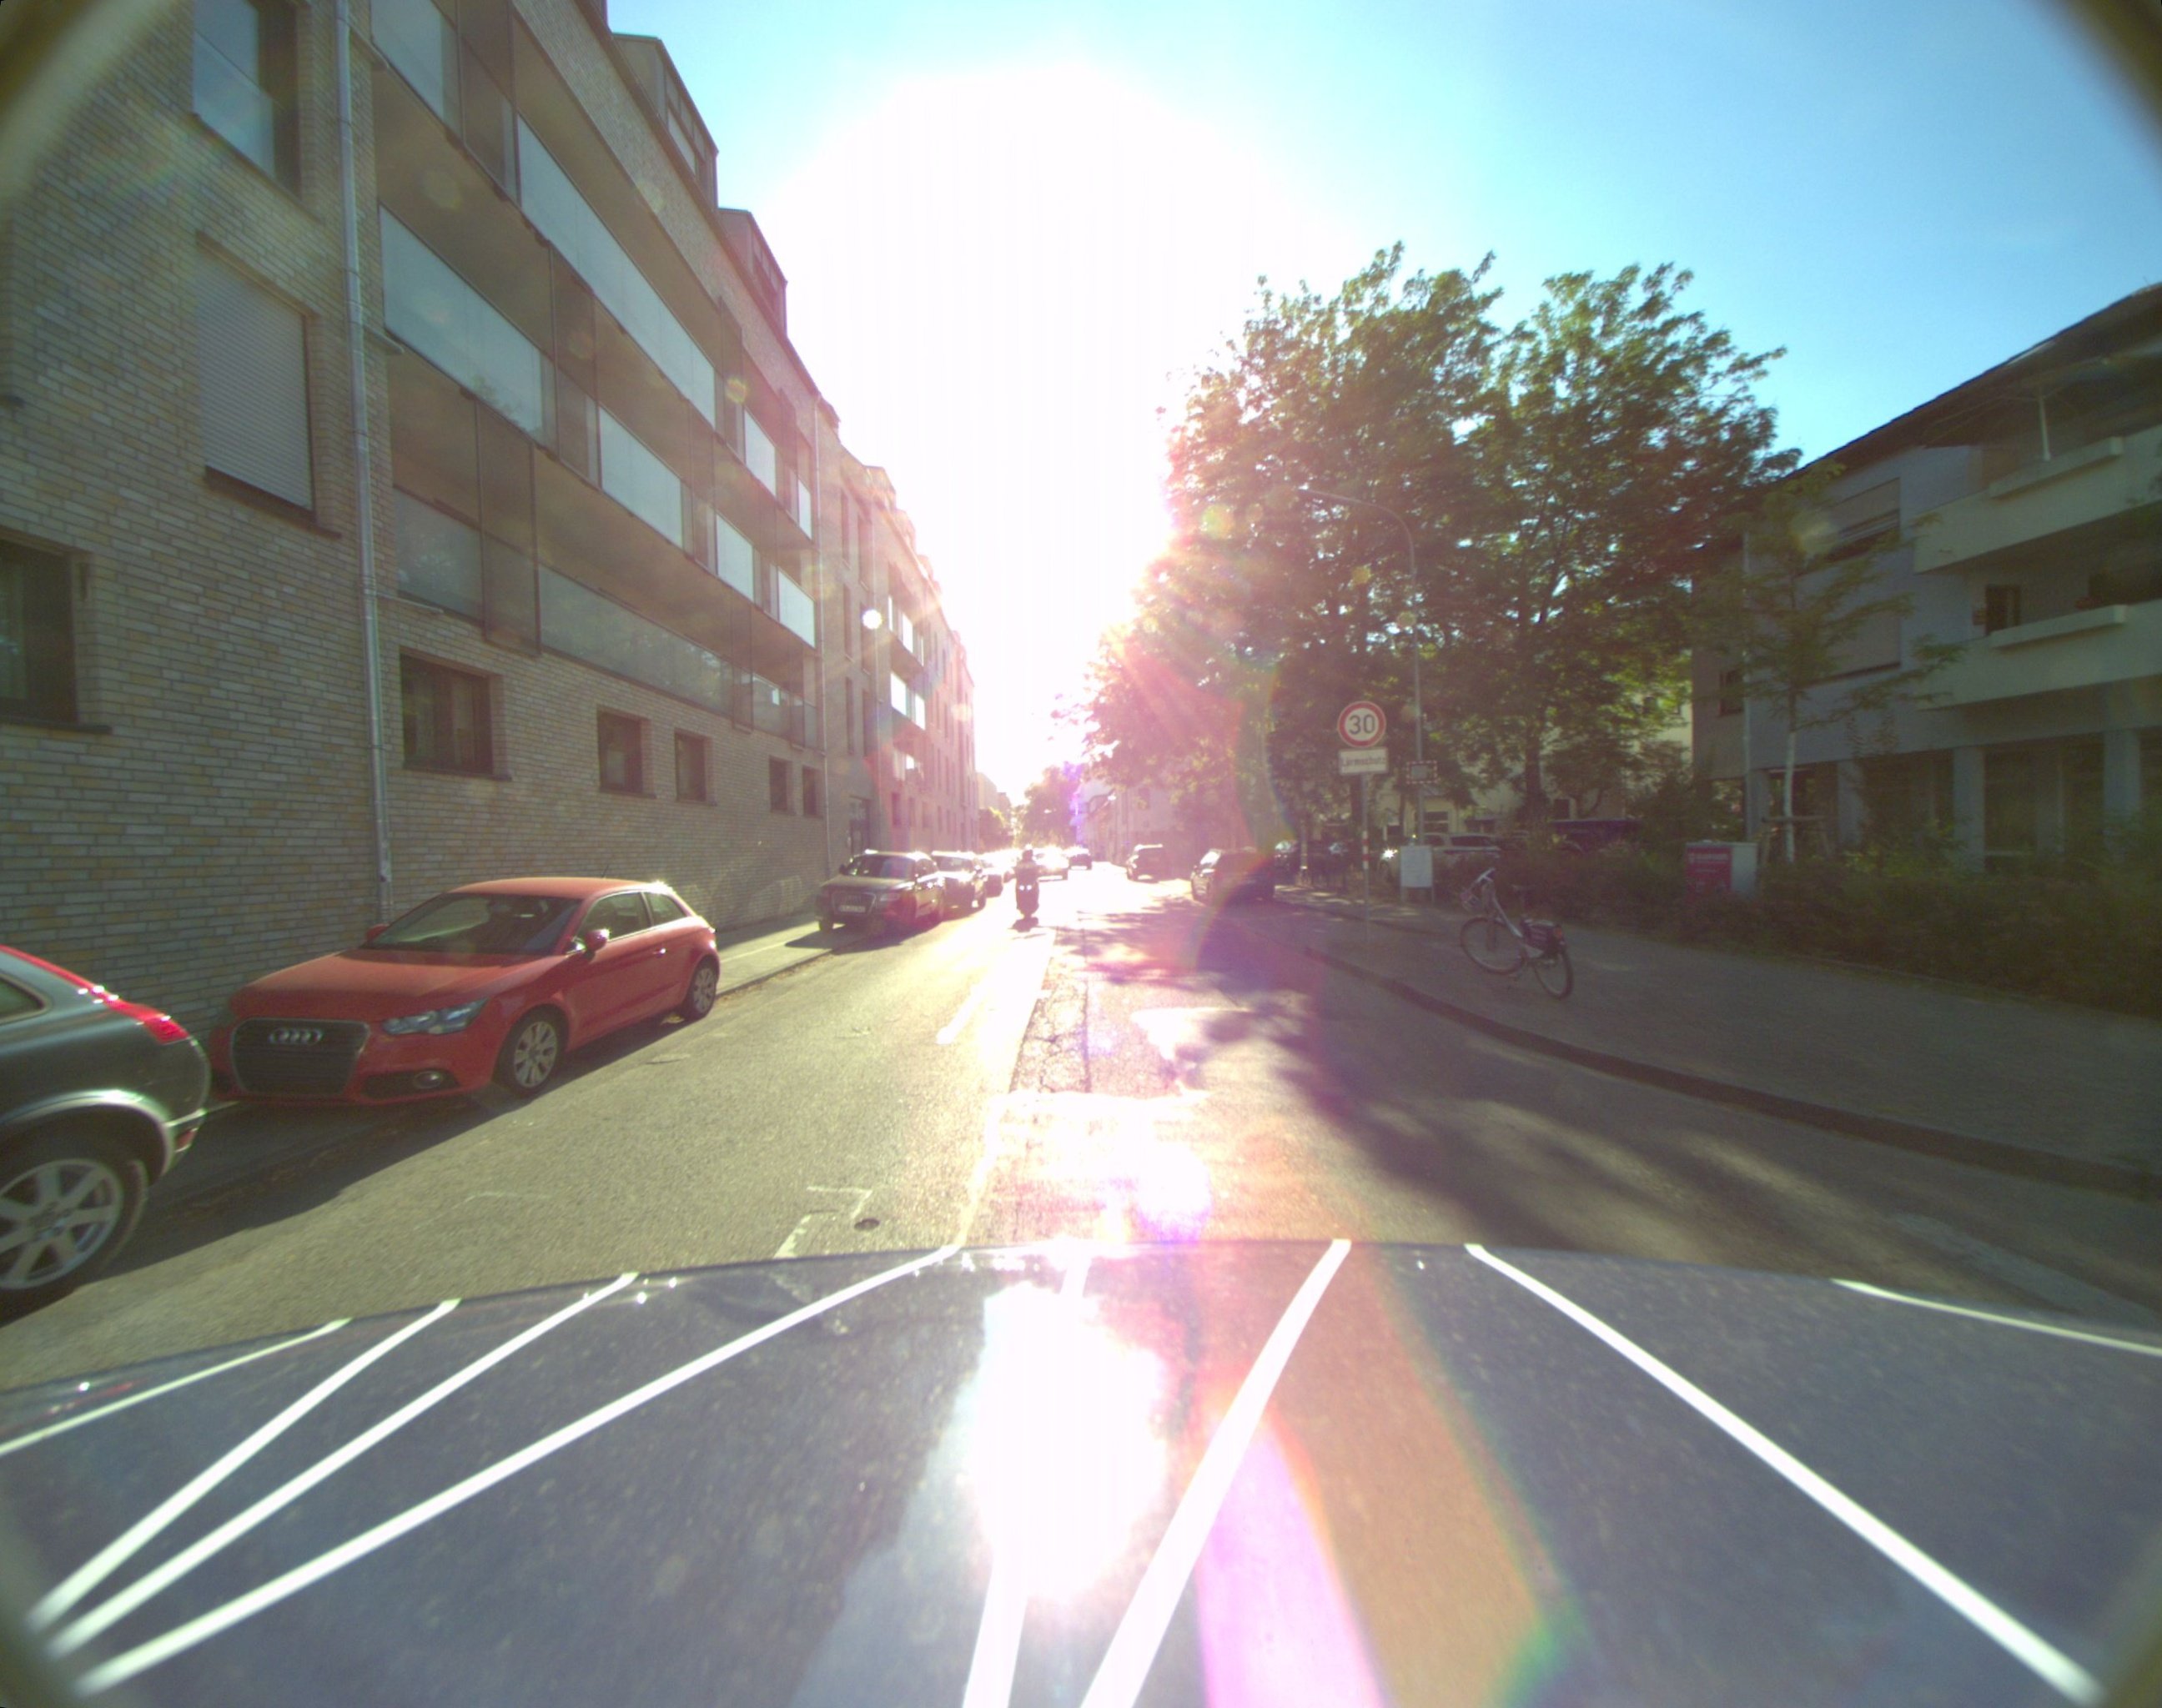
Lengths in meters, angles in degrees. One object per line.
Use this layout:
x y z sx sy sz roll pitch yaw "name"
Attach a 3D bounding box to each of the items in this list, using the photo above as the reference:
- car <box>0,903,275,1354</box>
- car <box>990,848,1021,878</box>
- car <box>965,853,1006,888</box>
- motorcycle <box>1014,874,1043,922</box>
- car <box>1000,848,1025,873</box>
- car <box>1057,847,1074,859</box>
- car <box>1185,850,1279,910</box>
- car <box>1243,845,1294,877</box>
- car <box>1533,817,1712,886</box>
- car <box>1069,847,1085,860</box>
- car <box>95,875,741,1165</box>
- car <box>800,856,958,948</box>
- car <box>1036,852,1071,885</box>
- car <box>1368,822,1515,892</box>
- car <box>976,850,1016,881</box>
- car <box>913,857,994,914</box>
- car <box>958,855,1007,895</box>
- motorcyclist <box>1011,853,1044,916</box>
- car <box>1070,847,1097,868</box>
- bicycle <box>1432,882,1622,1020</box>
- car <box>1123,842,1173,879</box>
-4.727 1.000 1.309 1.999 1.497 4.366 -1 0 -1 "car"
-4.606 0.489 47.039 1.672 1.724 4.837 -1 1 -3 "car"
-4.444 0.737 35.873 1.668 1.507 4.217 0 1 -4 "car"
-1.227 1.004 17.989 0.599 1.004 1.821 -1 1 -2 "motorcycle"
-4.683 0.419 52.287 1.655 1.583 4.340 0 0 -5 "car"
-1.976 -0.162 94.927 1.812 1.458 3.998 -1 1 -4 "car"
4.136 0.648 21.403 1.701 1.483 3.999 -2 1 -2 "car"
8.737 0.297 35.679 1.524 1.400 3.638 -1 1 0 "car"
16.813 -0.089 23.887 2.025 1.937 4.319 -2 1 -12 "car"
-0.560 -0.094 102.790 1.999 1.614 3.998 -1 1 -3 "car"
-4.573 0.981 6.230 1.717 1.396 4.072 2 1 0 "car"
-4.244 0.930 16.894 1.894 1.702 4.775 -1 0 4 "car"
-1.475 0.734 40.708 1.708 1.570 3.914 -3 1 -2 "car"
10.844 0.072 23.335 1.848 1.884 4.904 -2 0 -4 "car"
-4.605 0.593 41.728 1.730 1.521 4.624 2 1 -2 "car"
-3.724 0.869 22.883 1.821 1.458 4.268 -1 1 -2 "car"
-3.976 0.800 31.249 1.701 1.459 4.717 0 1 -4 "car"
-1.250 0.698 17.824 0.717 1.424 0.746 -1 1 -2 "motorcyclist"
0.169 0.238 60.587 1.944 1.567 4.317 -1 1 -2 "car"
4.062 0.827 7.127 0.705 0.997 1.941 -2 1 3 "bicycle"
3.450 0.305 40.273 1.937 1.695 5.098 -4 1 -2 "car"
